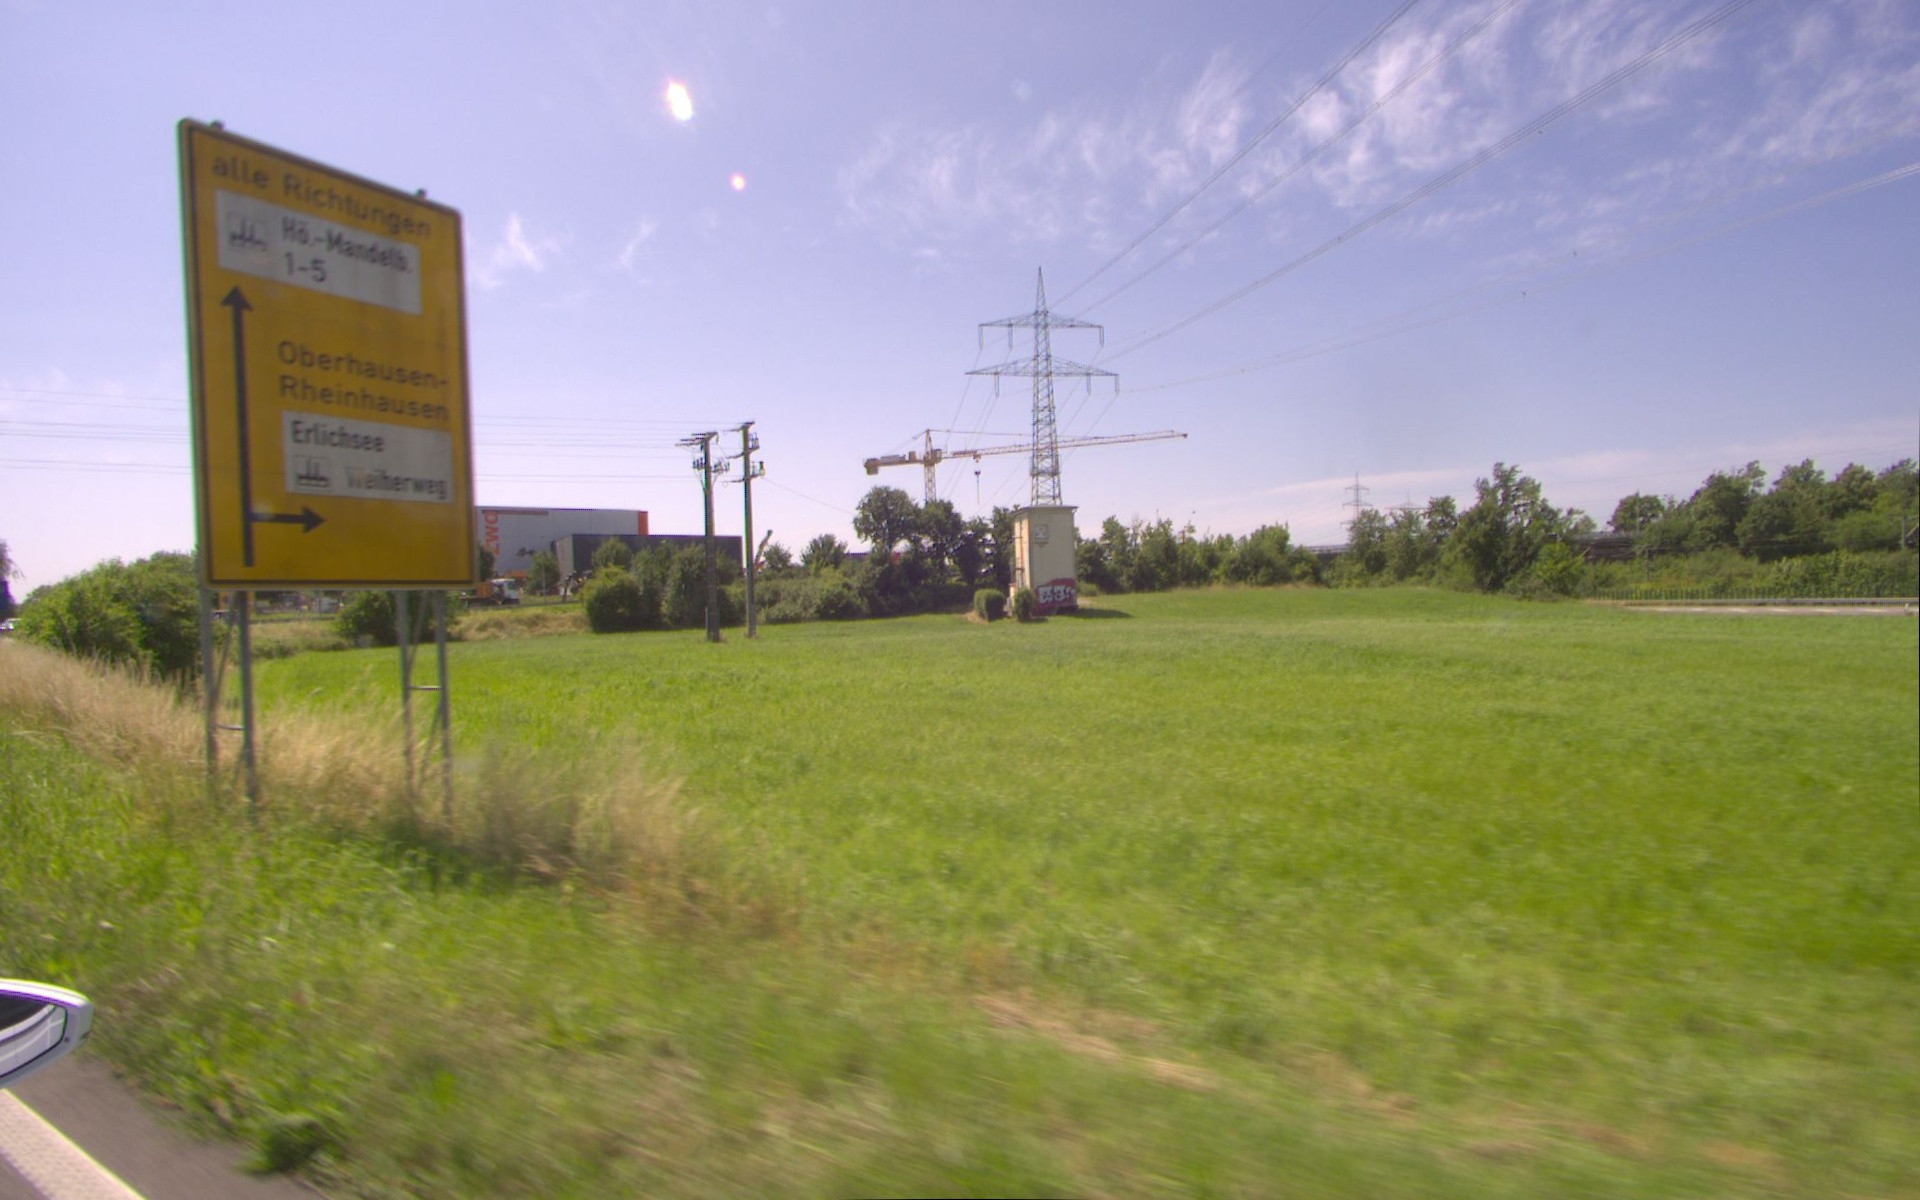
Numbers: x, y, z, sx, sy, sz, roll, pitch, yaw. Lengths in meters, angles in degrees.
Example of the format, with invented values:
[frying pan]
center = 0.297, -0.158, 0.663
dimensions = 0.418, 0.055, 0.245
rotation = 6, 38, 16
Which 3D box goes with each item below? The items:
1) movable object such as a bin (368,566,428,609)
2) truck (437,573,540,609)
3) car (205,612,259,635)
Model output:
[movable object such as a bin]
center = -72.253, -1.569, 128.684
dimensions = 6.523, 5.212, 3.785
rotation = 0, -2, -33
[truck]
center = -46.068, -0.801, 98.093
dimensions = 3.072, 3.177, 8.737
rotation = -3, -2, 39
[car]
center = -66.982, 2.133, 92.168
dimensions = 3.952, 2.039, 1.986
rotation = 0, -2, -37
